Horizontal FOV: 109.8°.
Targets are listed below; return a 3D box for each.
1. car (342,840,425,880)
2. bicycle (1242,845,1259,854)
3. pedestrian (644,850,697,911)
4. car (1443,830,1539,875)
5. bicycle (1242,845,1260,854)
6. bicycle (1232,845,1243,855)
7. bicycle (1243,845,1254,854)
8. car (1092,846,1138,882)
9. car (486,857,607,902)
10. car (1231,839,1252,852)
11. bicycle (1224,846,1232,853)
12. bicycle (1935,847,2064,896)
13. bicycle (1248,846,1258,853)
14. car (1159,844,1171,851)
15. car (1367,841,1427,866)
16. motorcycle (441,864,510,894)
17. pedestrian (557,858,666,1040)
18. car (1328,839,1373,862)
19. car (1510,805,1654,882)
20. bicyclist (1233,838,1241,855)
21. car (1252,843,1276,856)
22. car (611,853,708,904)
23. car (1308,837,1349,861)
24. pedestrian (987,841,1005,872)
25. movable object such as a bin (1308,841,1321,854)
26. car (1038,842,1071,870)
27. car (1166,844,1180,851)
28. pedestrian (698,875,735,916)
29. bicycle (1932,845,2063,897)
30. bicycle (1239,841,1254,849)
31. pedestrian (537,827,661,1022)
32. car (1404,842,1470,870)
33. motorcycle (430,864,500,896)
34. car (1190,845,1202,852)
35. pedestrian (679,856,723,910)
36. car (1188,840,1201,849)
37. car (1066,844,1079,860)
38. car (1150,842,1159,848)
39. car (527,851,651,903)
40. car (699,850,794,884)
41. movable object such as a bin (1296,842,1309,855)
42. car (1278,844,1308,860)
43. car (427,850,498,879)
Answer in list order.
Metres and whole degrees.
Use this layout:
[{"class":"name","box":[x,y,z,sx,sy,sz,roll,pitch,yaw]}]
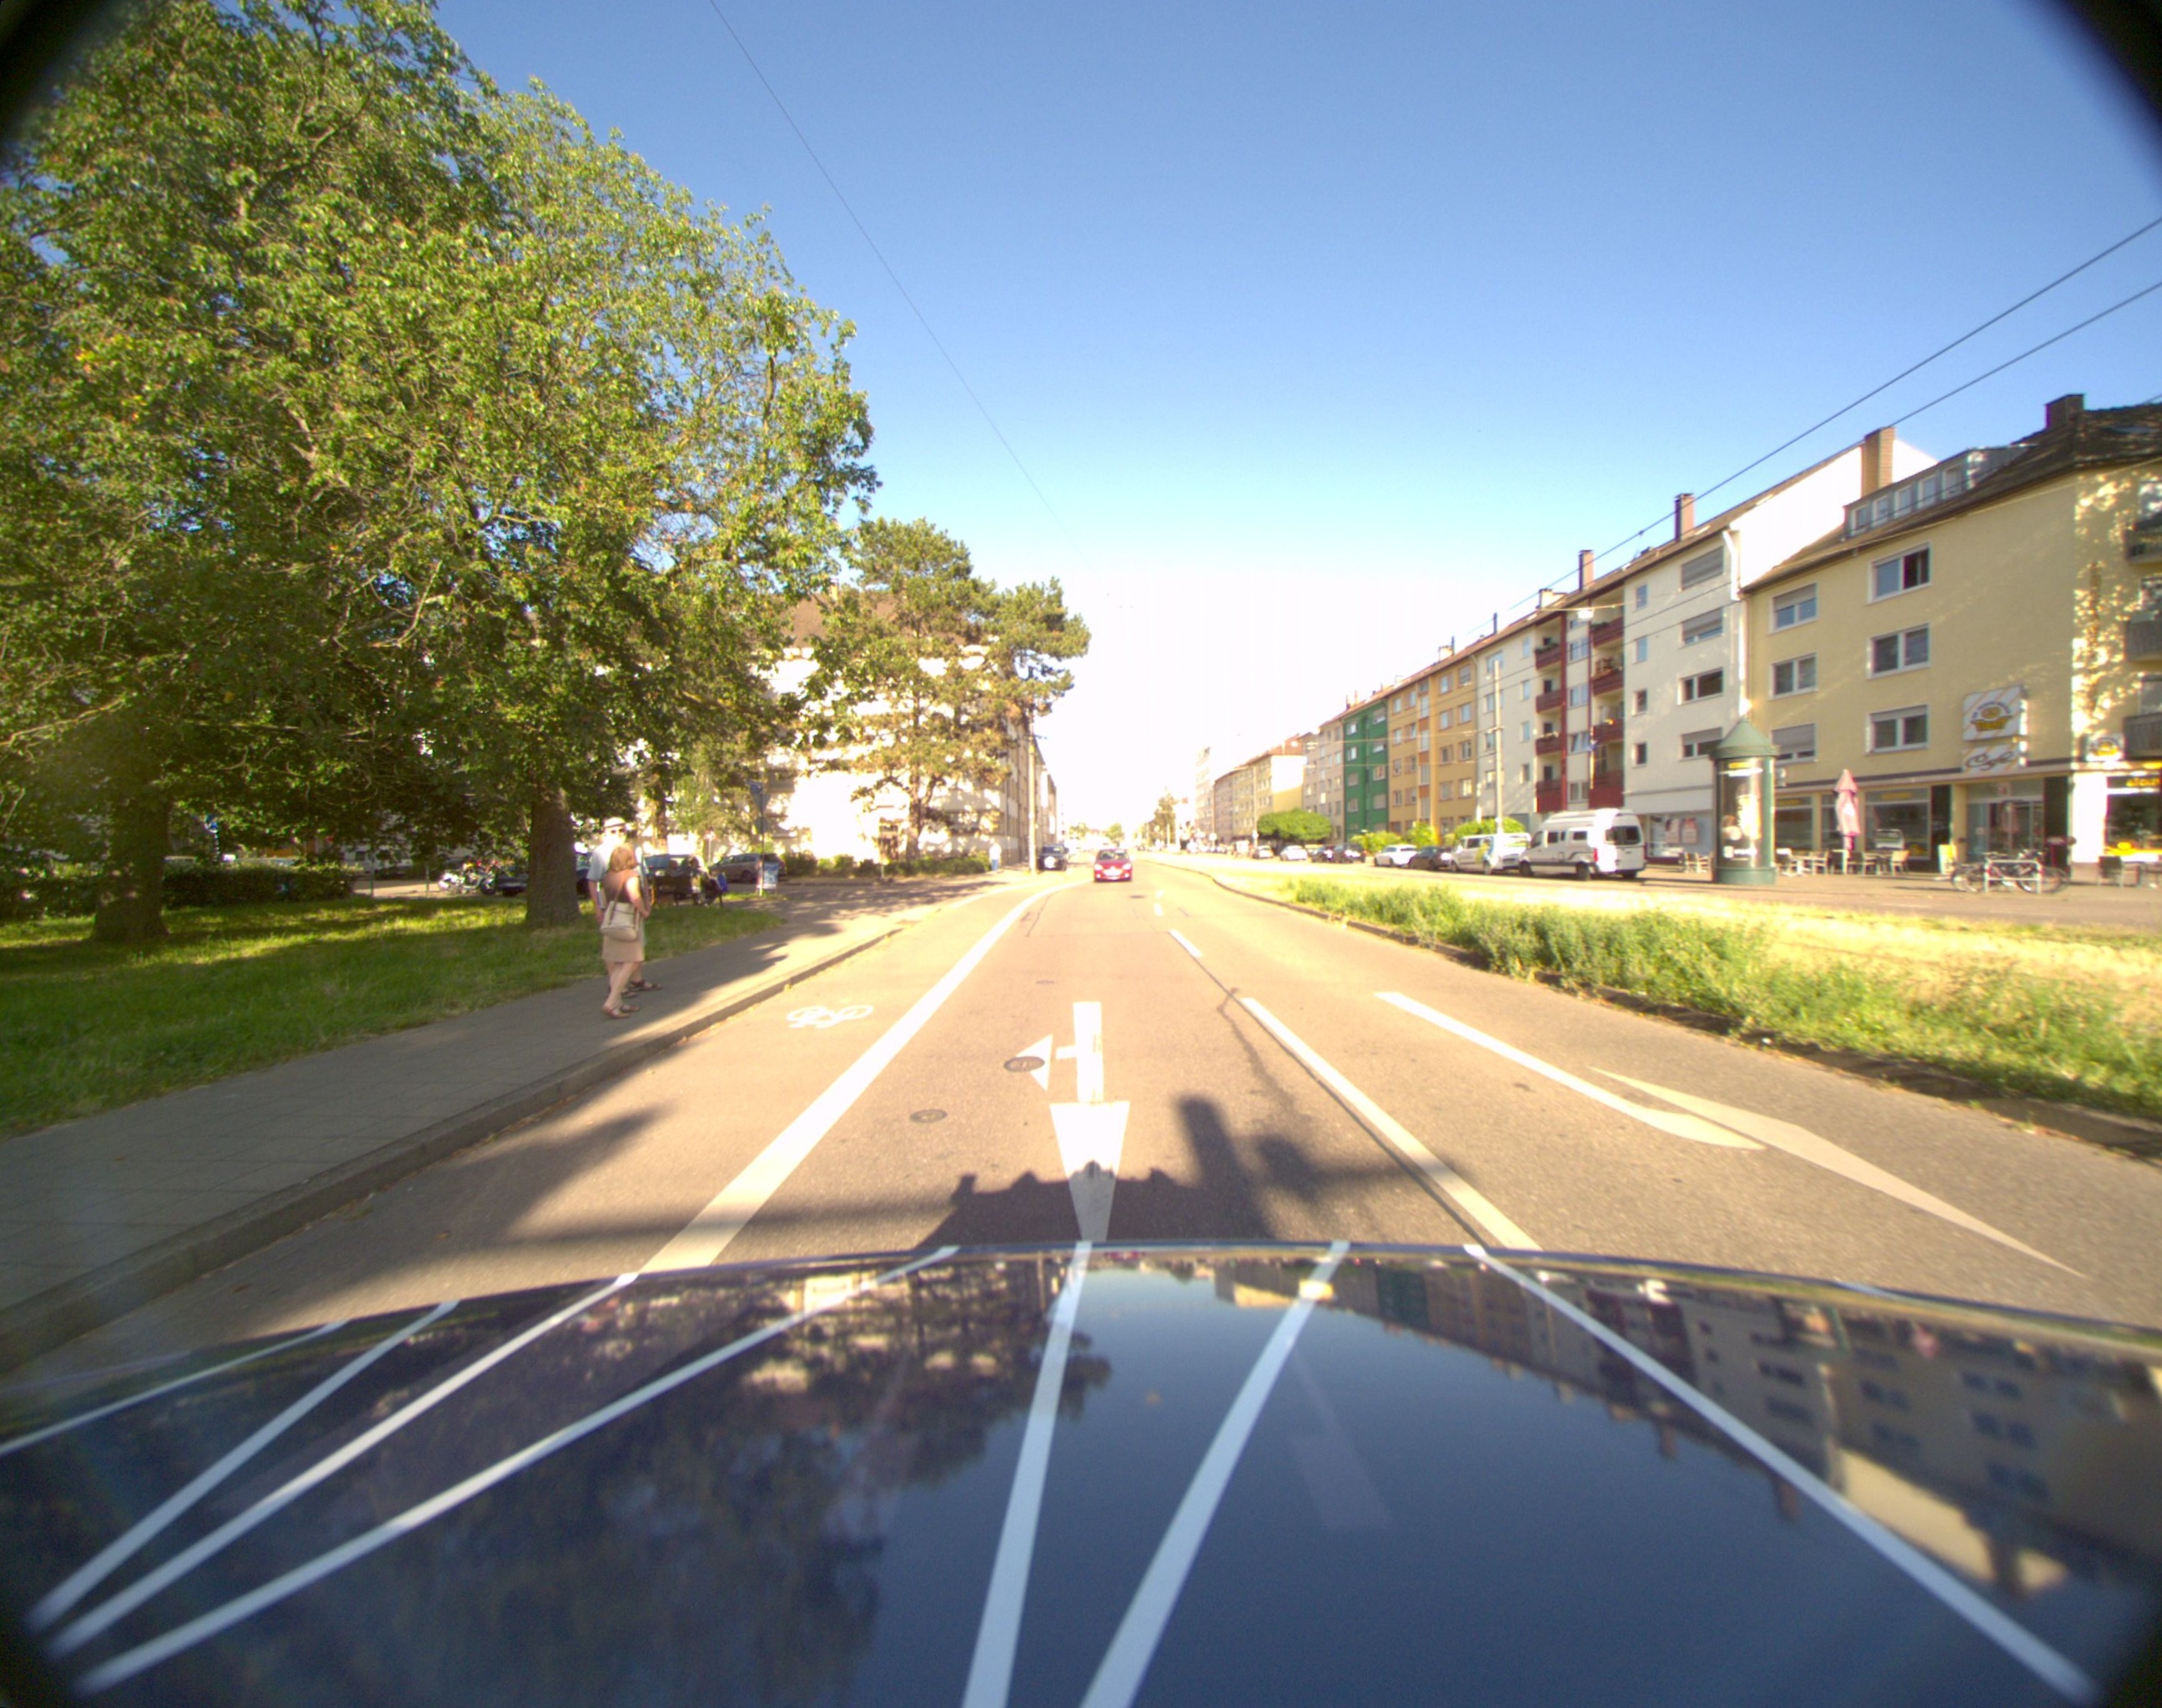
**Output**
[{"class":"car","box":[-48.593,0.435,52.921,5.306,2.428,2.129,-3,1,23]},{"class":"bicycle","box":[22.069,-0.555,99.162,2.052,1.086,0.616,-3,1,6]},{"class":"pedestrian","box":[-9.675,0.624,17.907,0.685,1.365,0.756,-3,2,27]},{"class":"car","box":[20.921,-0.119,39.082,2.037,2.009,5.370,-3,1,1]},{"class":"bicycle","box":[21.650,-0.580,96.768,2.052,1.086,0.616,-3,1,6]},{"class":"bicycle","box":[18.714,-0.469,90.874,0.770,1.140,2.474,1,1,0]},{"class":"bicycle","box":[20.782,-0.578,94.429,0.511,1.086,1.934,-4,1,-11]},{"class":"car","box":[1.433,0.374,32.904,1.862,1.462,3.808,0,1,1]},{"class":"car","box":[-19.067,0.857,27.353,1.640,1.432,4.238,0,1,-5]},{"class":"car","box":[26.033,-1.411,123.369,1.999,1.938,5.498,-4,1,-3]},{"class":"bicycle","box":[19.986,-0.623,103.426,0.770,0.875,2.068,1,1,0]},{"class":"bicycle","box":[23.778,0.419,19.718,0.520,1.177,2.084,-4,3,-34]},{"class":"bicycle","box":[21.389,-0.508,94.619,0.377,0.861,2.052,-4,1,-11]},{"class":"car","box":[17.706,-1.358,160.008,1.788,1.519,4.412,0,1,-5]},{"class":"car","box":[20.906,-0.049,50.472,1.897,1.483,4.701,-3,1,-2]},{"class":"motorcycle","box":[-22.044,0.909,27.692,1.785,1.066,0.713,1,0,-16]},{"class":"pedestrian","box":[-4.140,0.806,6.733,0.530,1.520,0.627,1,2,6]},{"class":"car","box":[21.219,-0.287,59.961,1.998,1.598,4.150,-3,1,0]},{"class":"car","box":[20.946,-0.459,32.214,2.037,2.852,6.227,-2,1,1]},{"class":"bicyclist","box":[18.684,-0.916,91.005,0.775,2.002,0.648,-3,1,0]},{"class":"car","box":[21.252,-0.564,88.404,1.640,1.434,3.733,-3,1,-2]},{"class":"car","box":[-13.611,0.723,24.779,1.641,1.486,3.804,0,1,-11]},{"class":"car","box":[21.101,-0.443,64.972,1.998,1.827,4.608,-3,1,0]},{"class":"pedestrian","box":[-4.814,0.142,42.932,0.882,1.712,0.725,0,1,6]},{"class":"movable object such as a bin","box":[25.783,-0.720,83.871,1.149,1.360,1.039,-3,2,3]},{"class":"car","box":[-1.773,0.097,51.996,1.883,1.707,4.933,2,1,1]},{"class":"car","box":[18.396,-1.350,152.381,1.839,1.377,4.412,0,1,-6]},{"class":"pedestrian","box":[-8.490,0.957,17.691,0.403,0.929,0.624,-3,-1,27]},{"class":"bicycle","box":[23.325,0.412,19.390,0.520,1.245,2.084,-4,3,-34]},{"class":"bicycle","box":[26.158,-1.483,120.021,2.103,1.099,0.472,-3,1,1]},{"class":"pedestrian","box":[-4.655,0.647,7.374,0.704,1.779,0.694,2,1,6]},{"class":"car","box":[20.916,0.058,44.838,1.699,1.506,4.324,-2,1,-2]},{"class":"motorcycle","box":[-21.809,0.915,26.937,1.785,1.066,0.713,1,0,-16]},{"class":"car","box":[21.812,-1.064,143.896,1.698,1.440,4.216,0,1,1]},{"class":"pedestrian","box":[-8.938,0.672,17.892,0.403,1.219,0.762,-3,2,27]},{"class":"car","box":[26.343,-2.261,176.469,1.999,1.887,4.668,-3,1,-2]},{"class":"car","box":[-1.568,-0.381,139.943,2.156,2.681,6.290,1,1,0]},{"class":"car","box":[17.762,-2.140,183.214,1.617,1.550,3.999,1,1,0]},{"class":"car","box":[-16.214,0.699,25.281,1.455,1.563,3.809,0,1,4]},{"class":"car","box":[-16.444,0.592,37.311,4.294,1.494,1.771,0,5,24]},{"class":"movable object such as a bin","box":[24.486,-0.644,83.924,1.149,1.360,1.039,-3,2,3]},{"class":"car","box":[21.022,-0.253,75.533,1.733,1.446,4.375,-2,1,0]},{"class":"car","box":[-39.839,0.682,48.914,3.991,1.602,1.802,-3,1,23]}]
